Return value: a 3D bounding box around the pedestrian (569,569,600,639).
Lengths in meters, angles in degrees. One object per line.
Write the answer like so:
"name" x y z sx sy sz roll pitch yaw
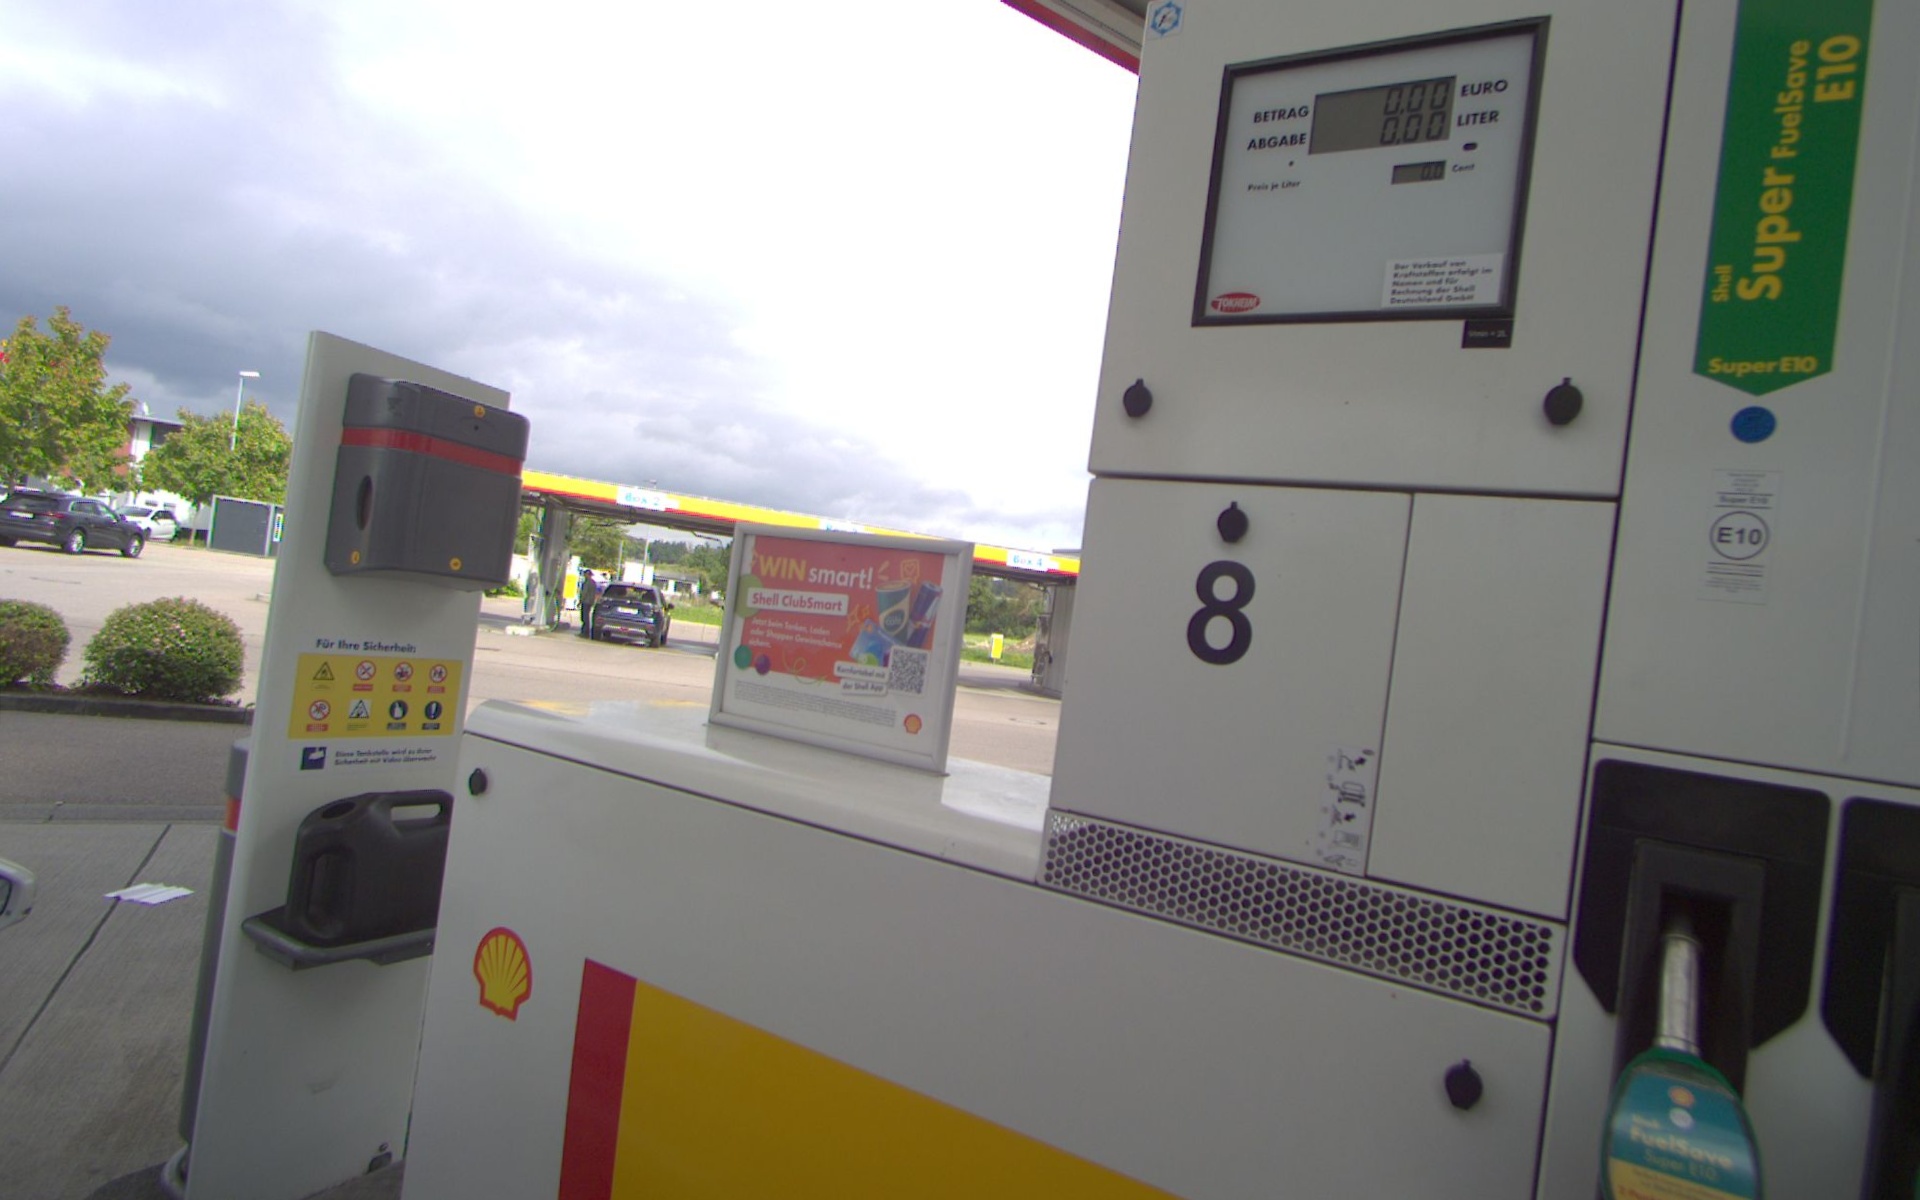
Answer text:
"pedestrian" -9.744 0.095 26.116 0.550 1.742 0.526 7 -1 -21

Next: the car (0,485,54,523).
"car" -57.350 -5.904 60.247 2.149 1.854 4.870 8 -2 -11

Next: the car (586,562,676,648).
"car" -8.688 0.152 26.867 1.696 1.919 3.800 8 -2 -12

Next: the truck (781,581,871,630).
"truck" -13.006 0.558 97.512 7.978 3.575 2.687 8 -2 -19

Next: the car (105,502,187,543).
"car" -35.249 -3.340 43.652 1.346 1.322 3.098 8 -2 -12

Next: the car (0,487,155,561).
"car" -25.920 -2.167 29.266 1.855 1.566 4.498 8 -2 -10
